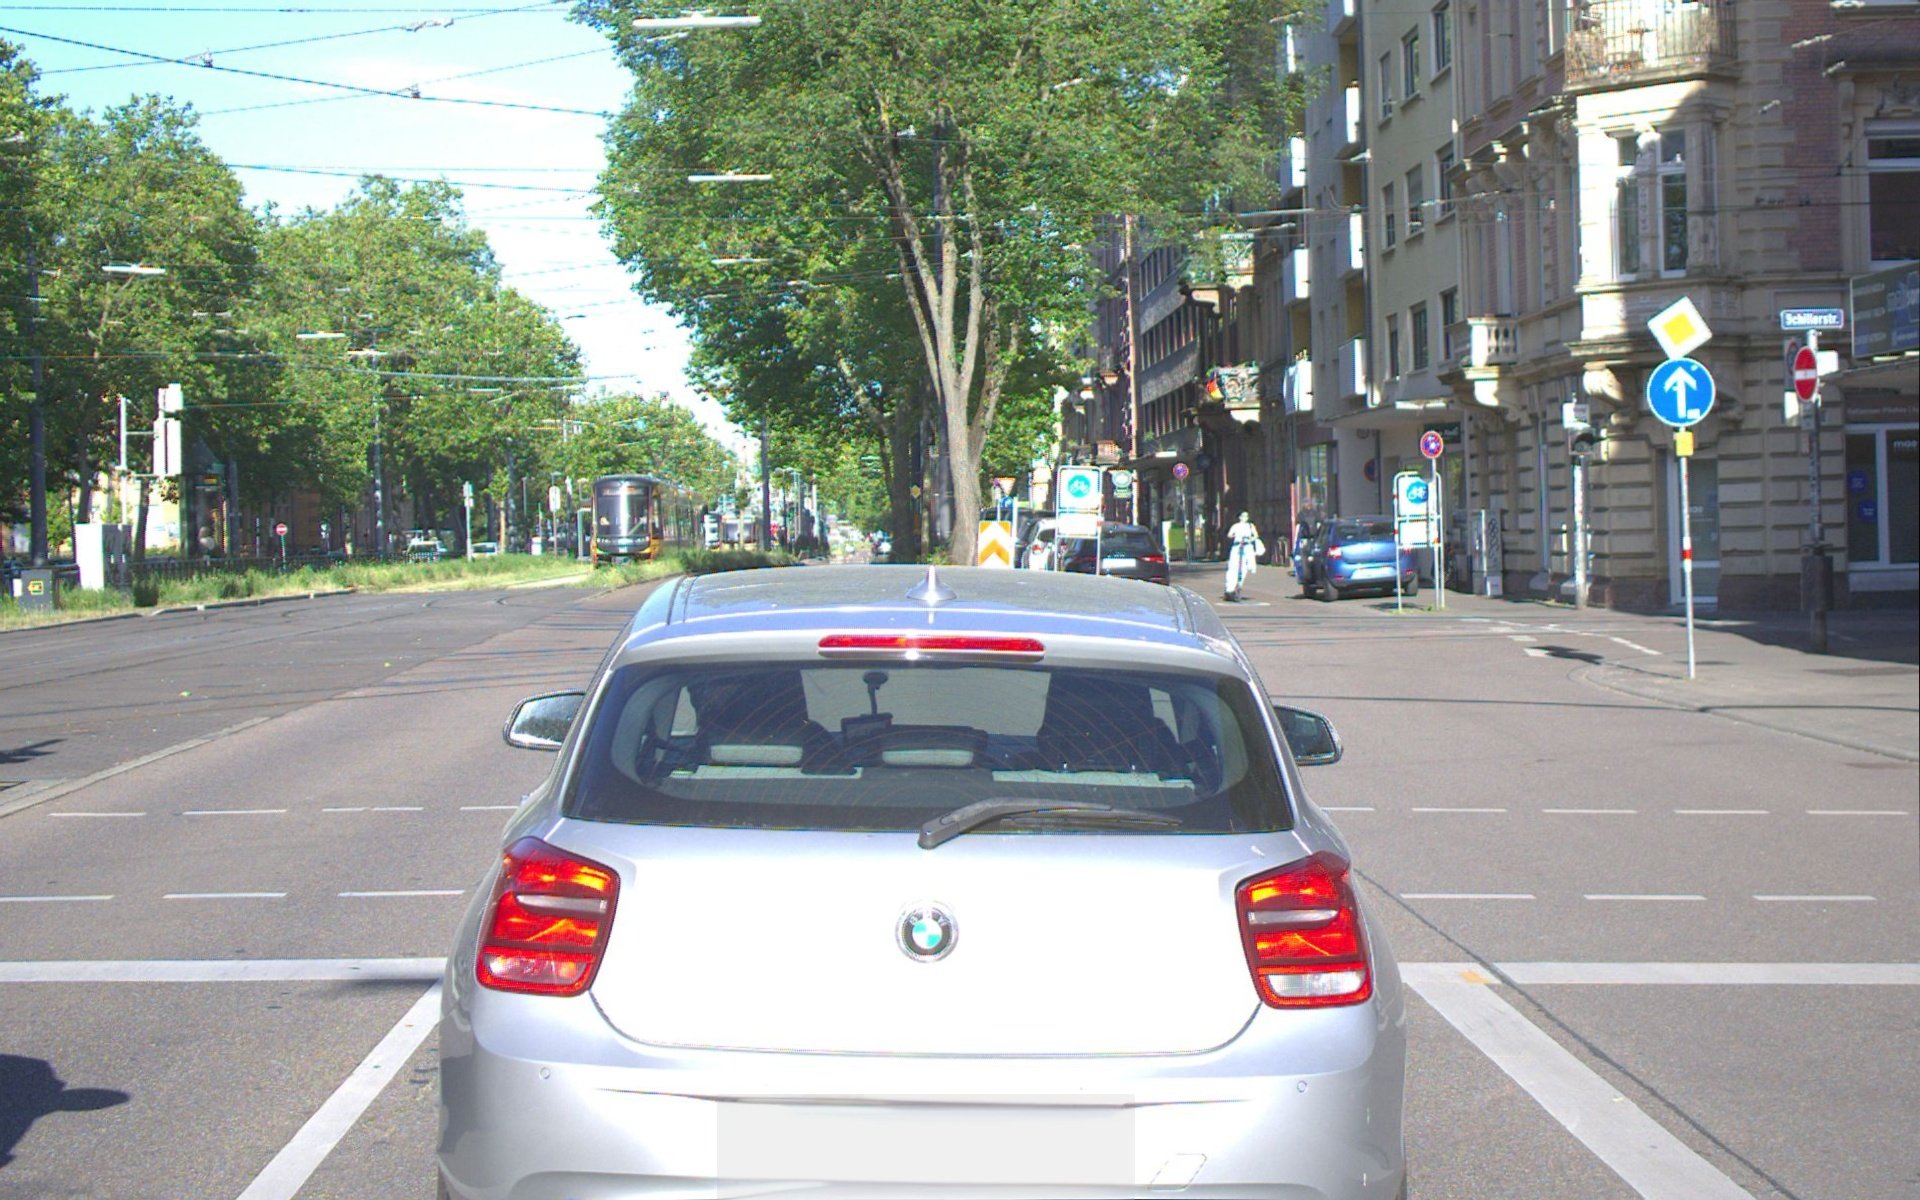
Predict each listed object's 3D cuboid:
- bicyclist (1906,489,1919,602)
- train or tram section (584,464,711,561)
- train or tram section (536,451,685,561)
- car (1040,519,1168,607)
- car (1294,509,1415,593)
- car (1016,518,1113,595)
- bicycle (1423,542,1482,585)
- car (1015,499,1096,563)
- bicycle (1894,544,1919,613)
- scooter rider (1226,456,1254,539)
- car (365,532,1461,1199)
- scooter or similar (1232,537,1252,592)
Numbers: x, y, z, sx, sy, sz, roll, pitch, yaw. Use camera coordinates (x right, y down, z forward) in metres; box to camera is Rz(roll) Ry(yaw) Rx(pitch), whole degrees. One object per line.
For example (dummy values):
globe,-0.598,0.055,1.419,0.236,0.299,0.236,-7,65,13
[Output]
bicyclist,13.116,-0.738,45.921,0.548,1.496,0.959,0,2,41
train or tram section,-13.263,-3.771,147.782,4.005,3.852,17.490,-1,1,-1
train or tram section,-13.064,-3.556,130.256,3.969,3.852,17.490,-1,1,-1
car,2.407,-0.655,58.216,1.735,1.428,3.679,0,1,-4
car,7.309,-0.926,63.950,1.735,1.514,3.637,0,1,-1
car,2.079,-0.904,69.321,1.724,1.501,3.555,0,1,-2
bicycle,9.213,-0.697,64.341,0.754,0.768,1.946,-1,1,-2
car,2.260,-1.664,82.265,1.724,1.501,3.555,0,1,-2
bicycle,13.067,-0.292,45.874,0.654,0.900,1.335,1,2,41
scooter rider,5.100,-1.869,62.604,0.465,1.500,0.811,-1,2,6
car,-0.104,0.603,7.494,1.740,1.462,4.000,1,1,-1
scooter or similar,5.142,-0.651,62.635,0.337,0.984,1.284,-1,1,4
